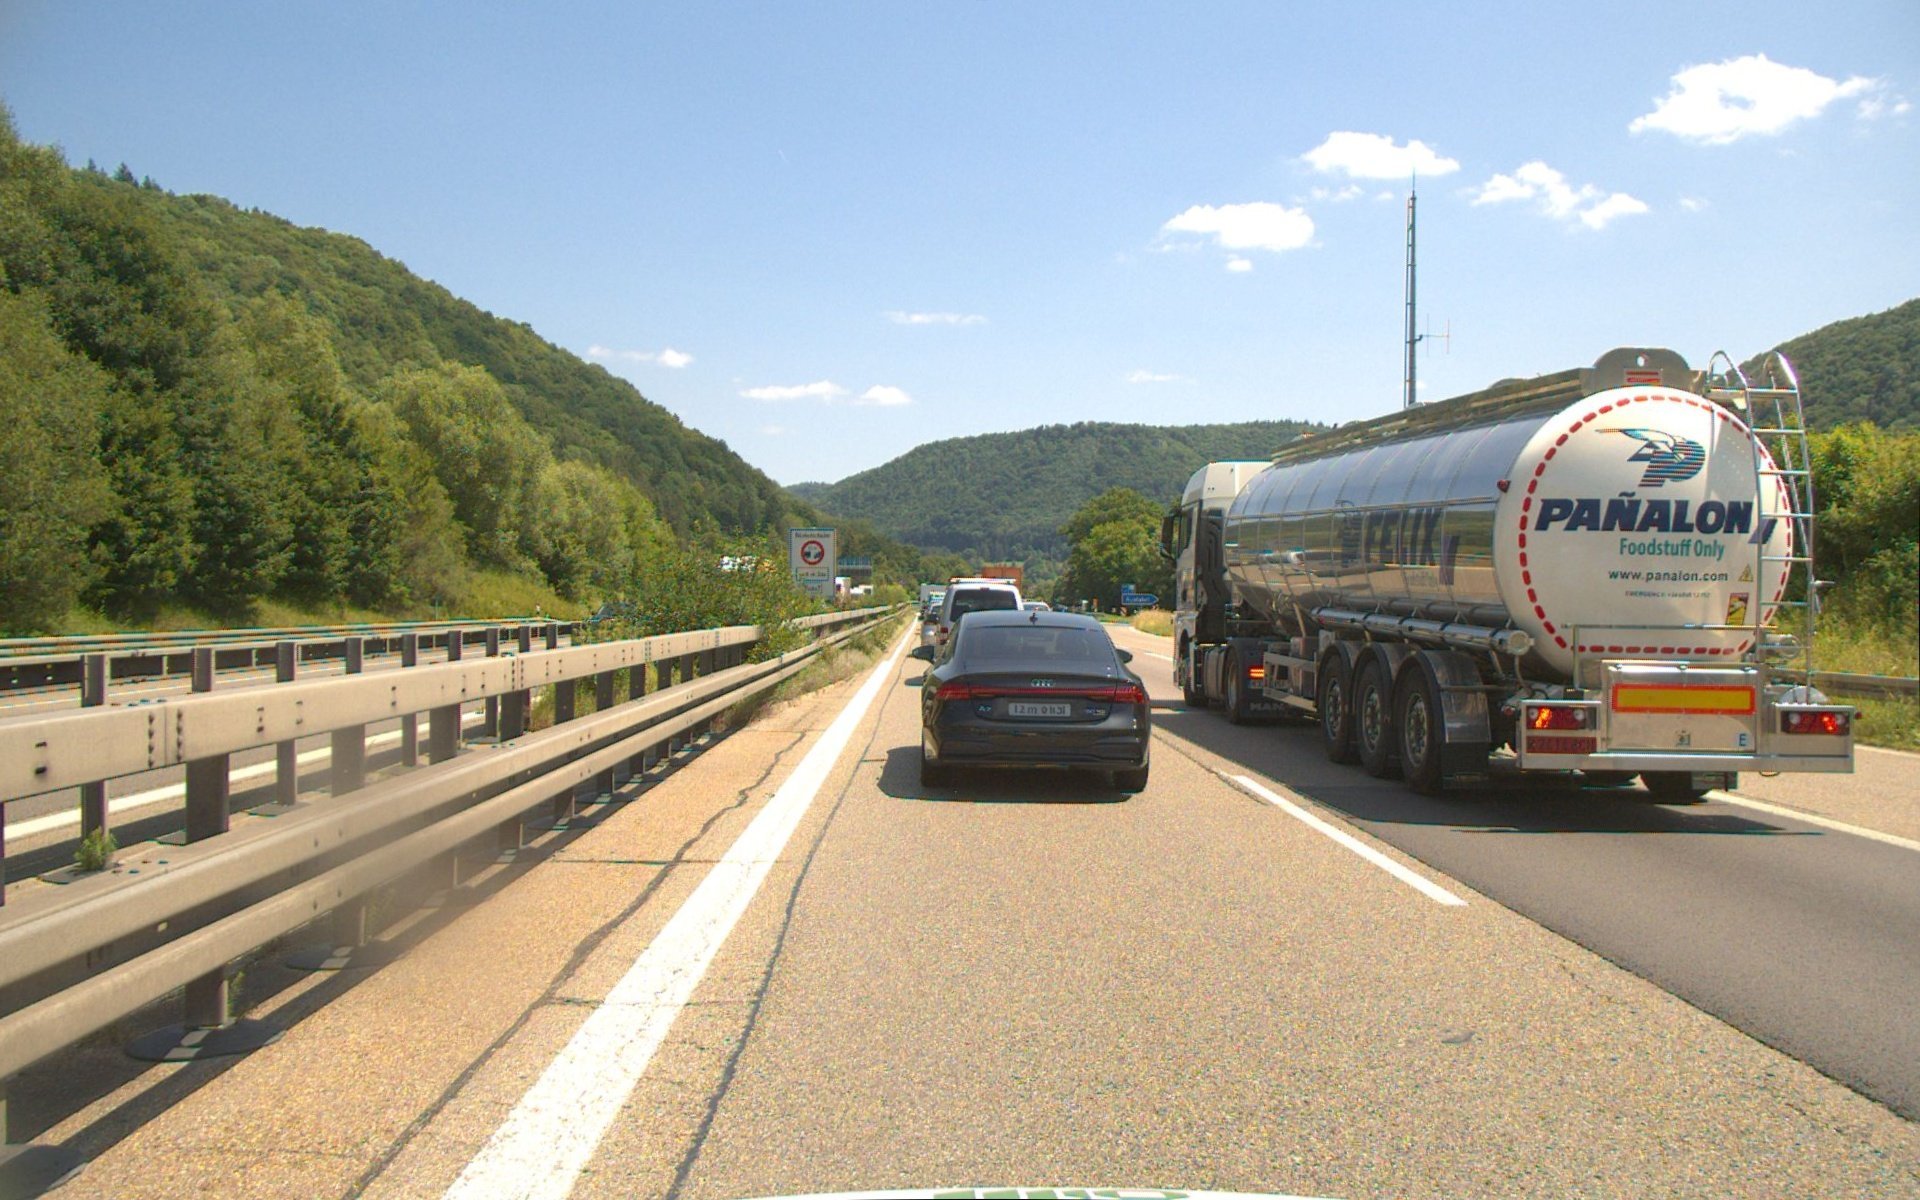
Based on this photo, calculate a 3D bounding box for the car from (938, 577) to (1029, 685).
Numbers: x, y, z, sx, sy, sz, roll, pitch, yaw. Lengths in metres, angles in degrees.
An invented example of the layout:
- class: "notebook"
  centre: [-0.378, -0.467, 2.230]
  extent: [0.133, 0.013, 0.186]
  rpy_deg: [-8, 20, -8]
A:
- class: "car"
  centre: [0.387, 0.542, 30.931]
  extent: [1.544, 1.865, 3.999]
  rpy_deg: [1, 0, -1]

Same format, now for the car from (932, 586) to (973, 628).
- class: "car"
  centre: [-0.399, 0.320, 82.141]
  extent: [1.953, 2.049, 3.999]
  rpy_deg: [0, 0, -1]

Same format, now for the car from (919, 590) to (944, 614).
- class: "car"
  centre: [-1.956, 0.163, 116.088]
  extent: [1.677, 1.647, 4.000]
  rpy_deg: [0, 0, 0]

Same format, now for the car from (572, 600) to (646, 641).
- class: "car"
  centre: [-13.042, 0.733, 61.668]
  extent: [1.831, 1.445, 4.432]
  rpy_deg: [-1, 0, 0]

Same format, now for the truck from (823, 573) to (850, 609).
- class: "truck"
  centre: [-13.990, -0.989, 188.224]
  extent: [2.672, 4.071, 5.368]
  rpy_deg: [-1, 0, -1]

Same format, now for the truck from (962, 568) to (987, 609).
- class: "truck"
  centre: [1.256, -1.029, 148.702]
  extent: [1.953, 3.507, 11.809]
  rpy_deg: [1, 0, -1]

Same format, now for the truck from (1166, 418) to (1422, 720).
- class: "truck"
  centre: [4.606, -0.401, 23.776]
  extent: [2.461, 3.824, 5.244]
  rpy_deg: [1, 0, -2]

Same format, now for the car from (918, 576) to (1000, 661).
- class: "car"
  centre: [-0.052, 0.449, 42.075]
  extent: [1.953, 2.049, 3.999]
  rpy_deg: [1, 0, -1]

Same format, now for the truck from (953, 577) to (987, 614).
- class: "truck"
  centre: [1.173, -0.595, 207.504]
  extent: [3.717, 4.491, 14.950]
  rpy_deg: [0, 0, -2]

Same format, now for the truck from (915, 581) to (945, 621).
- class: "truck"
  centre: [-2.665, 0.081, 148.265]
  extent: [2.575, 3.501, 11.419]
  rpy_deg: [0, 0, 0]

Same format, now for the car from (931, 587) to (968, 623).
- class: "car"
  centre: [-0.479, 0.241, 78.787]
  extent: [1.677, 1.647, 4.000]
  rpy_deg: [0, 0, 0]

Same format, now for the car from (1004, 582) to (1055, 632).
- class: "car"
  centre: [2.902, 0.296, 69.920]
  extent: [1.953, 2.049, 3.999]
  rpy_deg: [0, 0, -1]

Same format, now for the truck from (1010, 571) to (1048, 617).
- class: "truck"
  centre: [6.307, -0.538, 153.537]
  extent: [2.760, 4.073, 14.954]
  rpy_deg: [1, 0, 0]

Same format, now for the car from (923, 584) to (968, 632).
- class: "car"
  centre: [-0.669, 0.336, 72.713]
  extent: [1.953, 2.049, 3.999]
  rpy_deg: [0, 0, -1]

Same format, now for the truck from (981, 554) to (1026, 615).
- class: "truck"
  centre: [2.999, -1.064, 118.392]
  extent: [2.760, 4.073, 14.954]
  rpy_deg: [1, 0, 0]

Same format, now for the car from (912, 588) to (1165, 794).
- class: "car"
  centre: [0.530, 0.681, 14.396]
  extent: [1.812, 1.514, 4.081]
  rpy_deg: [1, 0, -3]

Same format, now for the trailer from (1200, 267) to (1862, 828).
- class: "trailer"
  centre: [4.785, -0.361, 17.272]
  extent: [2.487, 3.801, 11.887]
  rpy_deg: [1, 0, -2]

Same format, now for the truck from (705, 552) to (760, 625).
- class: "truck"
  centre: [-13.335, -0.681, 97.233]
  extent: [2.495, 4.162, 5.849]
  rpy_deg: [0, 0, 0]

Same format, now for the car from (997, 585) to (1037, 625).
- class: "car"
  centre: [2.947, 0.238, 86.068]
  extent: [1.952, 2.038, 4.000]
  rpy_deg: [0, 0, 0]
